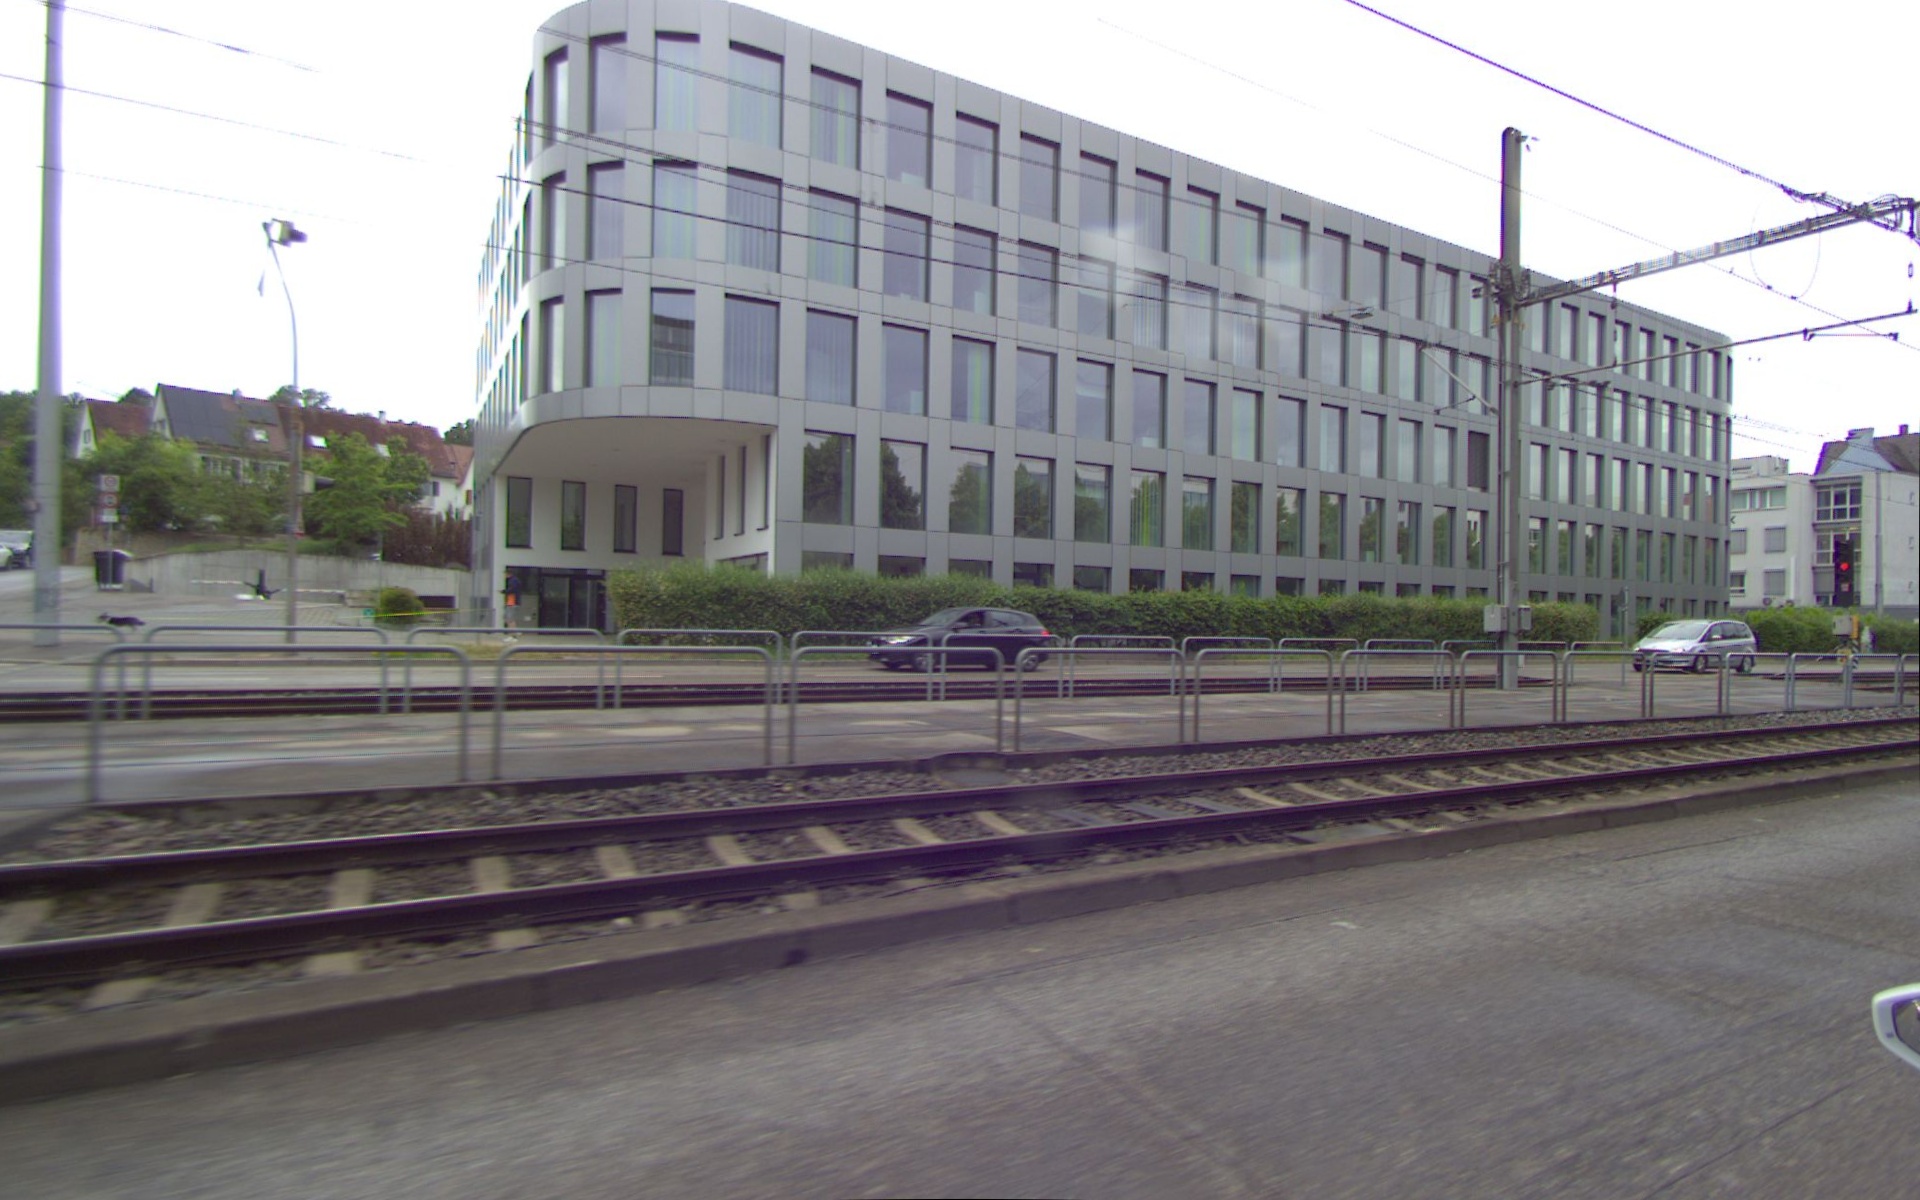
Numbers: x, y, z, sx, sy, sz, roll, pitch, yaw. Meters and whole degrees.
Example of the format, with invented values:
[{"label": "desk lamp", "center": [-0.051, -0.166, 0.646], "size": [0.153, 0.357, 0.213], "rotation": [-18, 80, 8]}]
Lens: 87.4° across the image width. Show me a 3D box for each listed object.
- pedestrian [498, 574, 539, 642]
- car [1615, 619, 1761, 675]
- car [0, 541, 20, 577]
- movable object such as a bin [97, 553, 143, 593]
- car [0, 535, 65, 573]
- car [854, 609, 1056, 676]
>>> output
[{"label": "pedestrian", "center": [-11.074, 0.192, 25.195], "size": [0.835, 1.669, 0.720], "rotation": [2, 0, -29]}, {"label": "car", "center": [23.245, 1.485, 32.034], "size": [4.824, 1.666, 1.894], "rotation": [2, -1, -29]}, {"label": "car", "center": [-43.016, -1.837, 43.926], "size": [1.924, 1.494, 4.232], "rotation": [2, 2, -31]}, {"label": "movable object such as a bin", "center": [-31.793, -1.026, 38.039], "size": [1.261, 1.414, 1.258], "rotation": [1, 2, -37]}, {"label": "car", "center": [-45.565, -2.243, 48.859], "size": [1.920, 1.683, 4.126], "rotation": [2, 2, -26]}, {"label": "car", "center": [-0.081, 0.942, 22.628], "size": [4.209, 1.365, 1.789], "rotation": [2, -1, -30]}]
